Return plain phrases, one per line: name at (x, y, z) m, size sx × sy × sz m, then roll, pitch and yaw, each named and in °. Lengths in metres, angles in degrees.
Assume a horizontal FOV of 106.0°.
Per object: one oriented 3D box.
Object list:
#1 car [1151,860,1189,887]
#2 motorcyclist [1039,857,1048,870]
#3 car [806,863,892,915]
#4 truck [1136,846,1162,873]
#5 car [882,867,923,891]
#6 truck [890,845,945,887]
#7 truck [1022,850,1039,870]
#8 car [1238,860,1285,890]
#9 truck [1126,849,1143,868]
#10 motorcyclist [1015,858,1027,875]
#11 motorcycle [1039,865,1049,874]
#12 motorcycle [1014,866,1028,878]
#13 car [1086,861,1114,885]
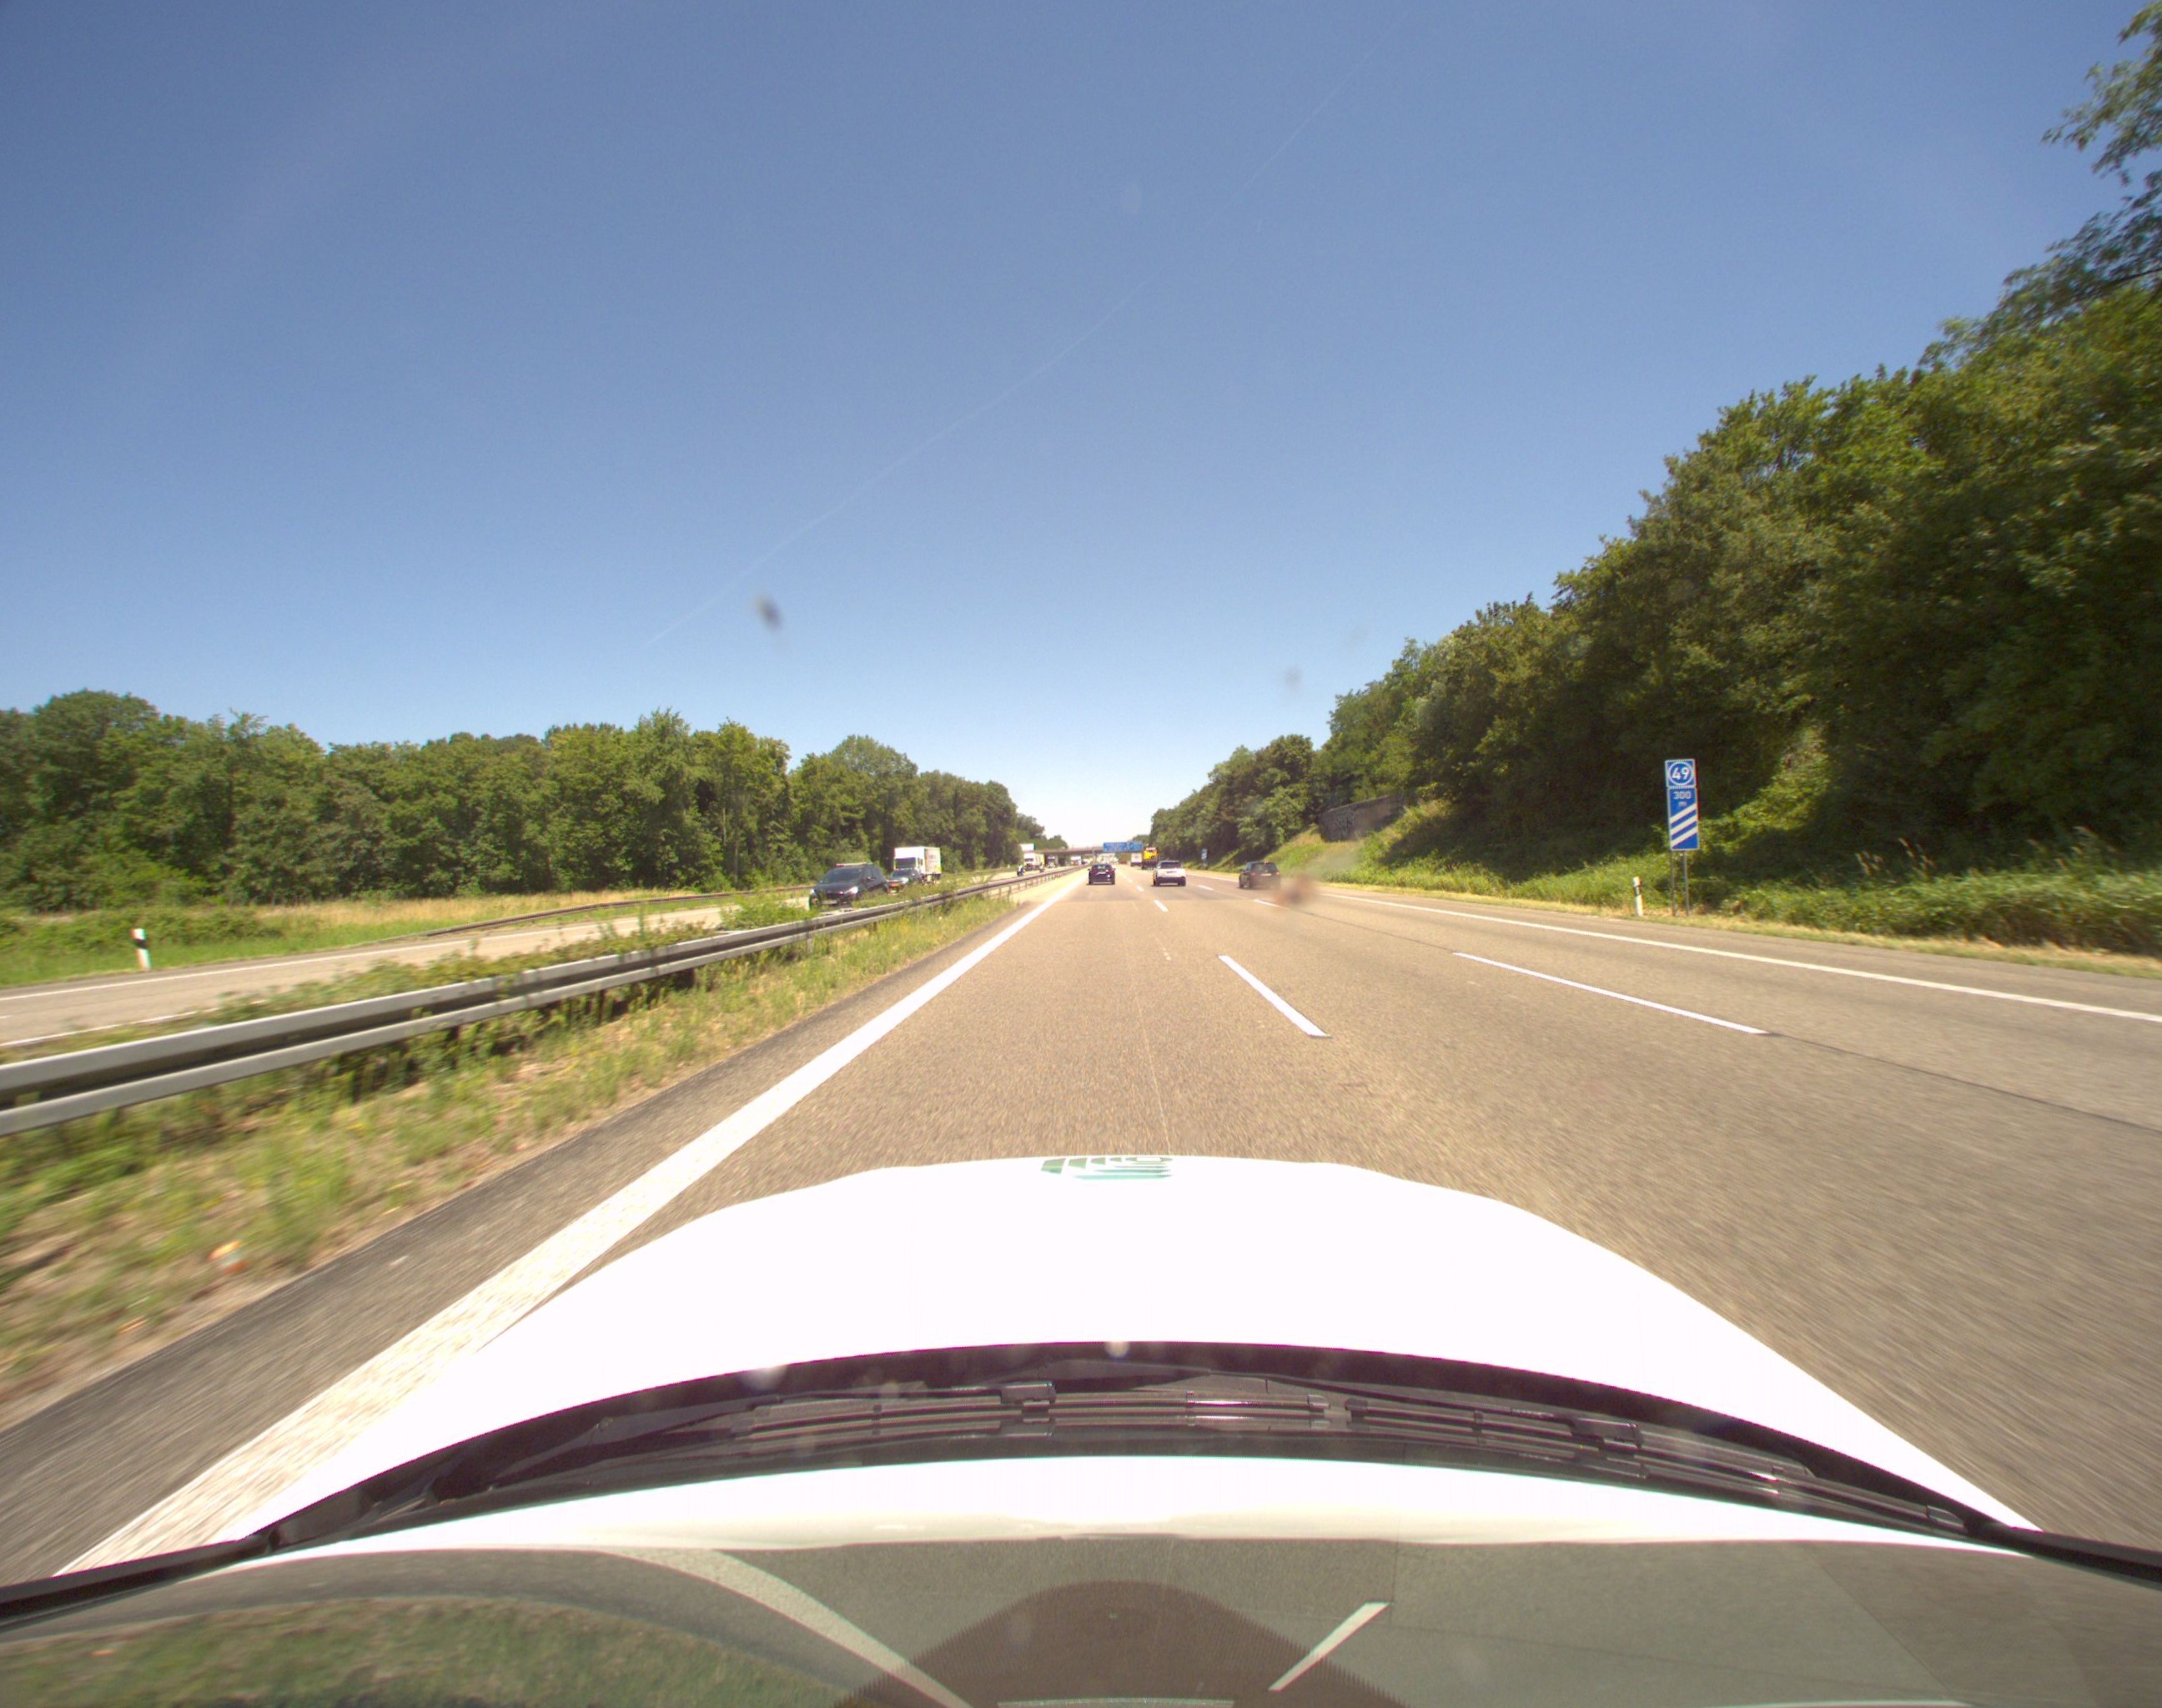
car at (5.415, 1.172, 49.772) m, size 1.893 × 1.532 × 4.241 m, roll -1°, pitch 0°, yaw 1°
motorcyclist at (-5.383, 1.400, 118.302) m, size 1.148 × 1.815 × 1.027 m, roll -2°, pitch -1°, yaw 1°
car at (-8.348, 1.217, 29.720) m, size 1.793 × 1.696 × 4.242 m, roll -1°, pitch 0°, yaw 1°
truck at (12.072, 1.037, 145.621) m, size 3.635 × 4.590 × 15.767 m, roll 0°, pitch -1°, yaw 1°
car at (-12.033, 1.664, 55.143) m, size 1.793 × 1.532 × 4.241 m, roll -1°, pitch 0°, yaw 0°
truck at (-15.410, 1.062, 77.759) m, size 2.786 × 3.632 × 10.697 m, roll -2°, pitch 0°, yaw 1°
truck at (-11.890, 1.328, 193.561) m, size 2.946 × 4.515 × 12.640 m, roll -2°, pitch 0°, yaw 1°
car at (9.426, 1.076, 42.771) m, size 1.782 × 1.461 × 3.952 m, roll -1°, pitch 0°, yaw 3°
truck at (13.903, 1.202, 213.006) m, size 3.635 × 4.590 × 17.248 m, roll 0°, pitch -1°, yaw 1°
motorcyclist at (-6.644, 1.388, 90.166) m, size 1.148 × 1.815 × 1.027 m, roll -2°, pitch -1°, yaw 1°
motorcycle at (-5.349, 2.257, 118.425) m, size 1.149 × 1.250 × 3.811 m, roll -2°, pitch -1°, yaw 2°
motorcycle at (-6.615, 2.012, 90.459) m, size 1.149 × 1.250 × 3.811 m, roll -2°, pitch -1°, yaw 2°
car at (1.255, 1.265, 55.076) m, size 1.793 × 1.502 × 4.241 m, roll -1°, pitch 0°, yaw 1°
